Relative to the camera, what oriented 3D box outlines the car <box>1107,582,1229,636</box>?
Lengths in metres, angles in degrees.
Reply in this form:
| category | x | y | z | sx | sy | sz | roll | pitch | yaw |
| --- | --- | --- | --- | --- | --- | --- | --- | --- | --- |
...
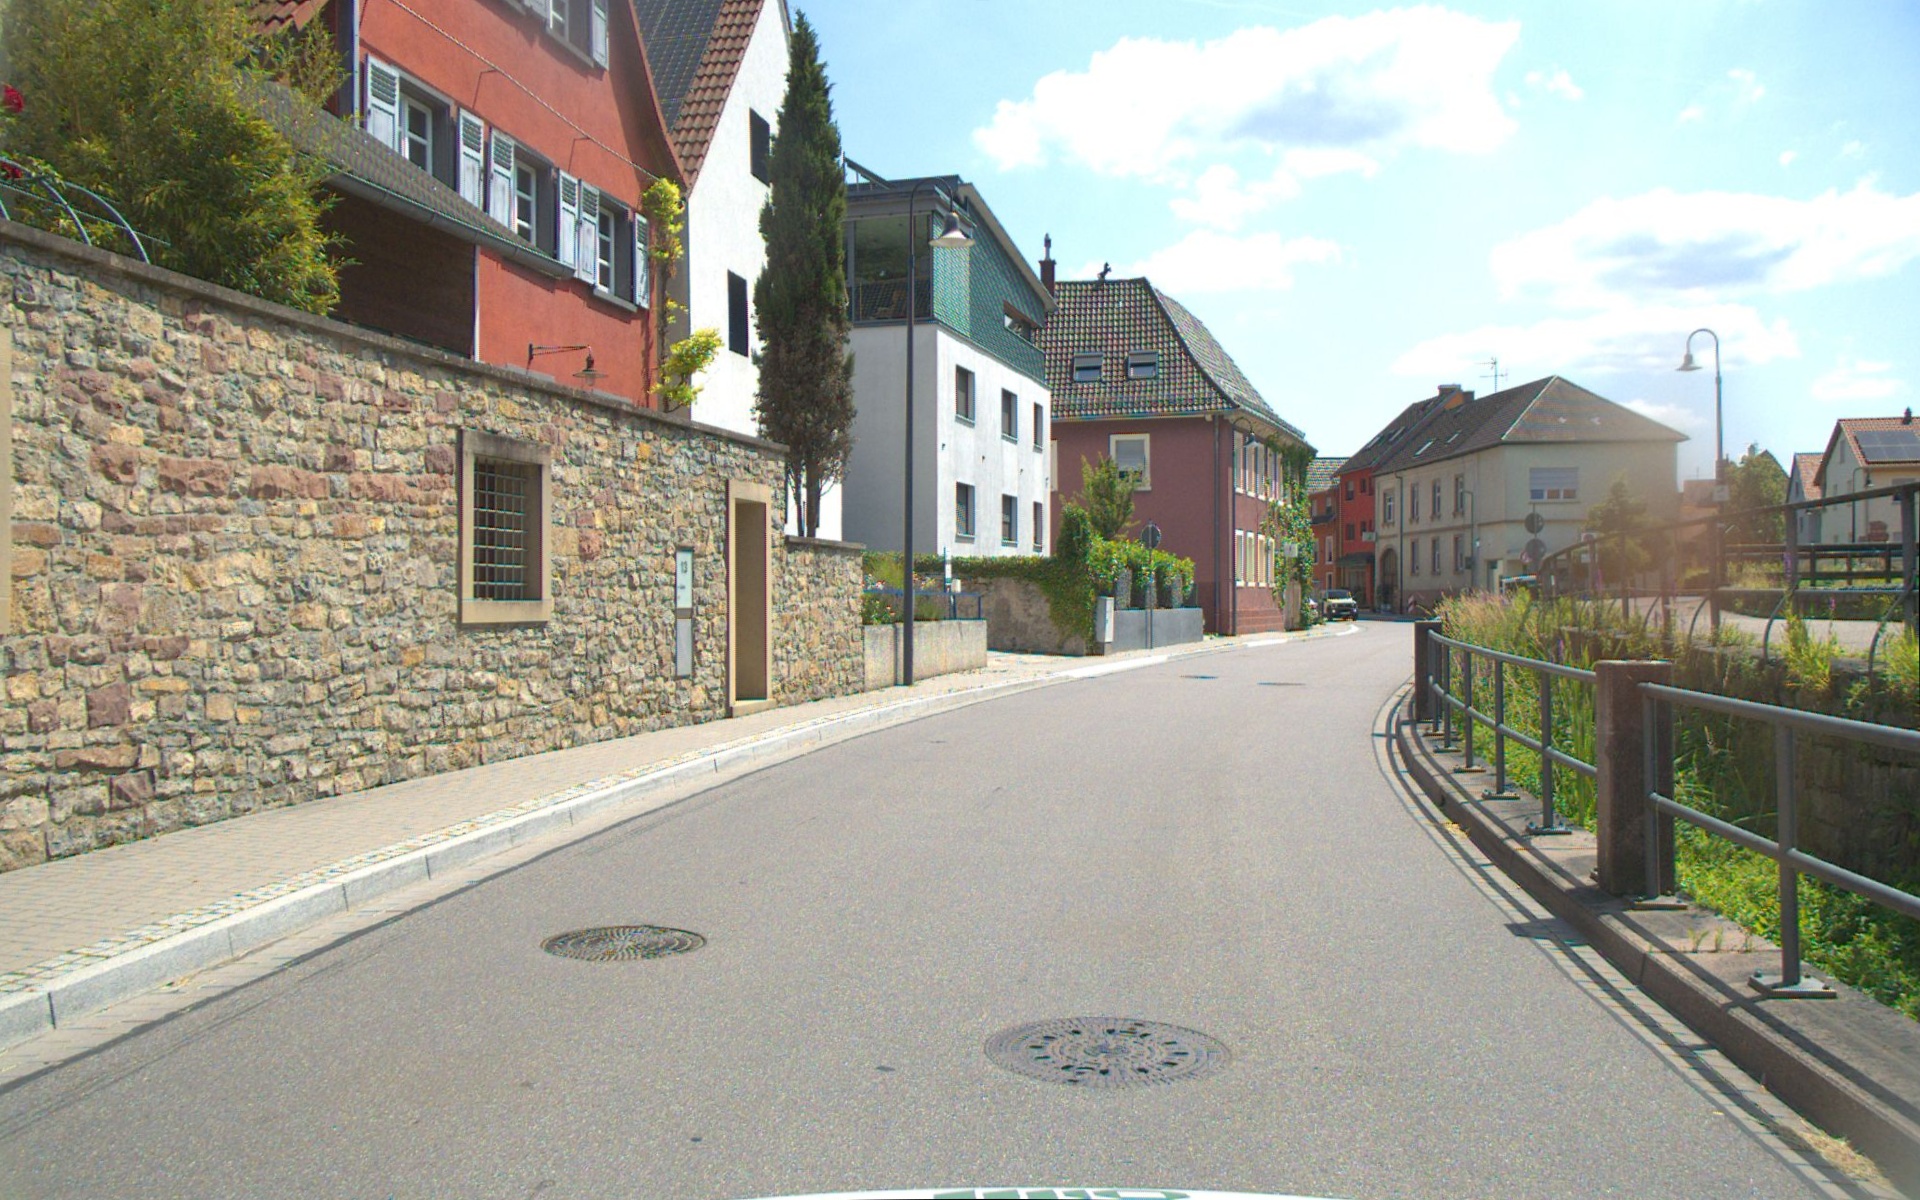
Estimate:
| category | x | y | z | sx | sy | sz | roll | pitch | yaw |
| --- | --- | --- | --- | --- | --- | --- | --- | --- | --- |
| car | 6.638 | 0.271 | 52.698 | 3.492 | 1.430 | 1.652 | 4 | 2 | 21 |

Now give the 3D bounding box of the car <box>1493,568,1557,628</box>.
| category | x | y | z | sx | sy | sz | roll | pitch | yaw |
| --- | --- | --- | --- | --- | --- | --- | --- | --- | --- |
| car | 20.351 | -0.088 | 59.507 | 1.859 | 2.015 | 3.112 | -3 | -1 | 24 |

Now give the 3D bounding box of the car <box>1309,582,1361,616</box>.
| category | x | y | z | sx | sy | sz | roll | pitch | yaw |
| --- | --- | --- | --- | --- | --- | --- | --- | --- | --- |
| car | 20.878 | -0.045 | 92.148 | 1.592 | 1.749 | 3.465 | -2 | -1 | -10 |
